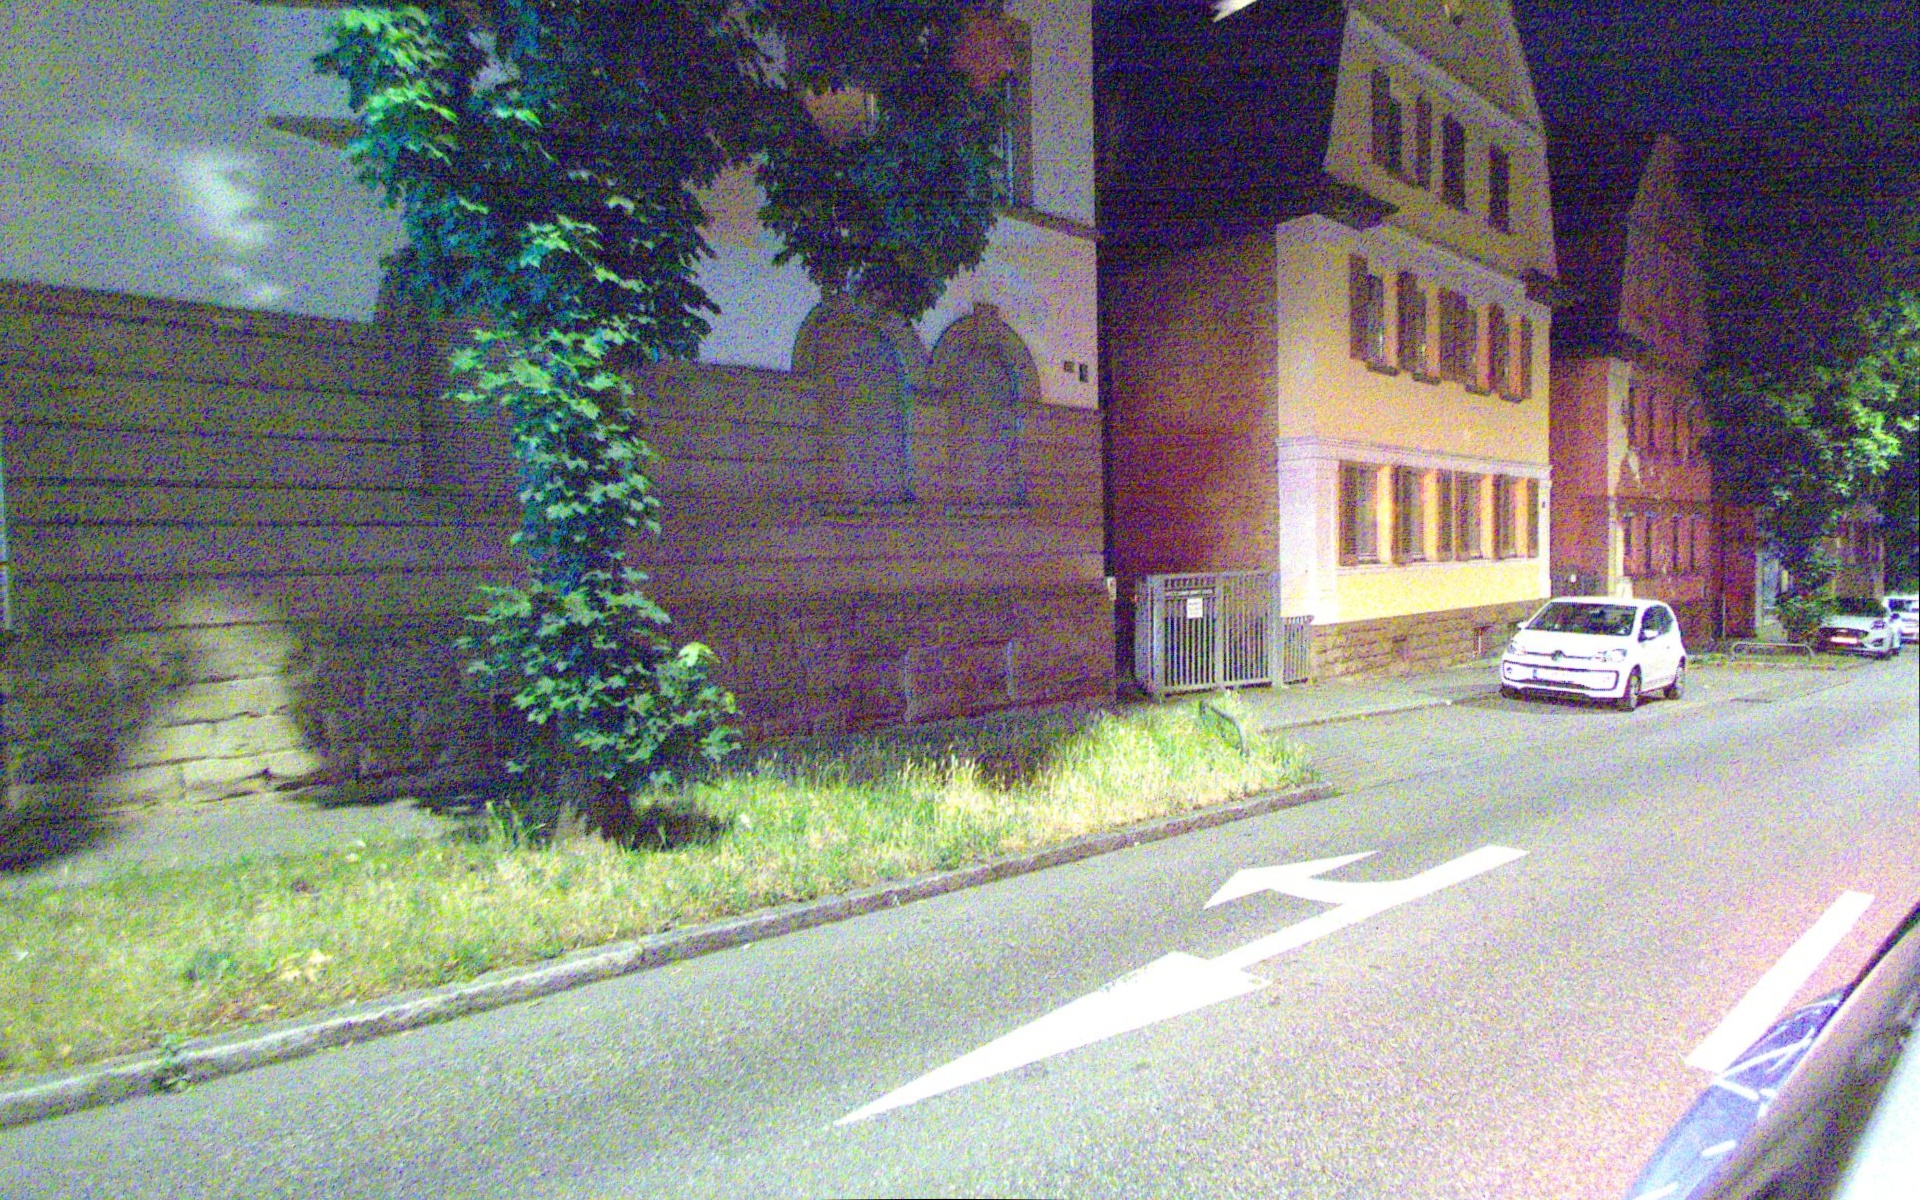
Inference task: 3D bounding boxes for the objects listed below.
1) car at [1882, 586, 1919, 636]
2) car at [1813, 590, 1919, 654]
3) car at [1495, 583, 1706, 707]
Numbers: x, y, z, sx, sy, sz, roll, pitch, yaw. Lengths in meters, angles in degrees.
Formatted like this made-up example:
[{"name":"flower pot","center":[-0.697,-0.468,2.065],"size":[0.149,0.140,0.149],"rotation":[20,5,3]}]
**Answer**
[{"name":"car","center":[33.539,0.371,35.134],"size":[4.107,1.673,1.850],"rotation":[0,0,-42]},{"name":"car","center":[23.615,0.511,26.277],"size":[3.824,1.516,1.740],"rotation":[0,2,-43]},{"name":"car","center":[9.248,0.557,14.532],"size":[3.425,1.527,1.610],"rotation":[0,2,-41]}]
